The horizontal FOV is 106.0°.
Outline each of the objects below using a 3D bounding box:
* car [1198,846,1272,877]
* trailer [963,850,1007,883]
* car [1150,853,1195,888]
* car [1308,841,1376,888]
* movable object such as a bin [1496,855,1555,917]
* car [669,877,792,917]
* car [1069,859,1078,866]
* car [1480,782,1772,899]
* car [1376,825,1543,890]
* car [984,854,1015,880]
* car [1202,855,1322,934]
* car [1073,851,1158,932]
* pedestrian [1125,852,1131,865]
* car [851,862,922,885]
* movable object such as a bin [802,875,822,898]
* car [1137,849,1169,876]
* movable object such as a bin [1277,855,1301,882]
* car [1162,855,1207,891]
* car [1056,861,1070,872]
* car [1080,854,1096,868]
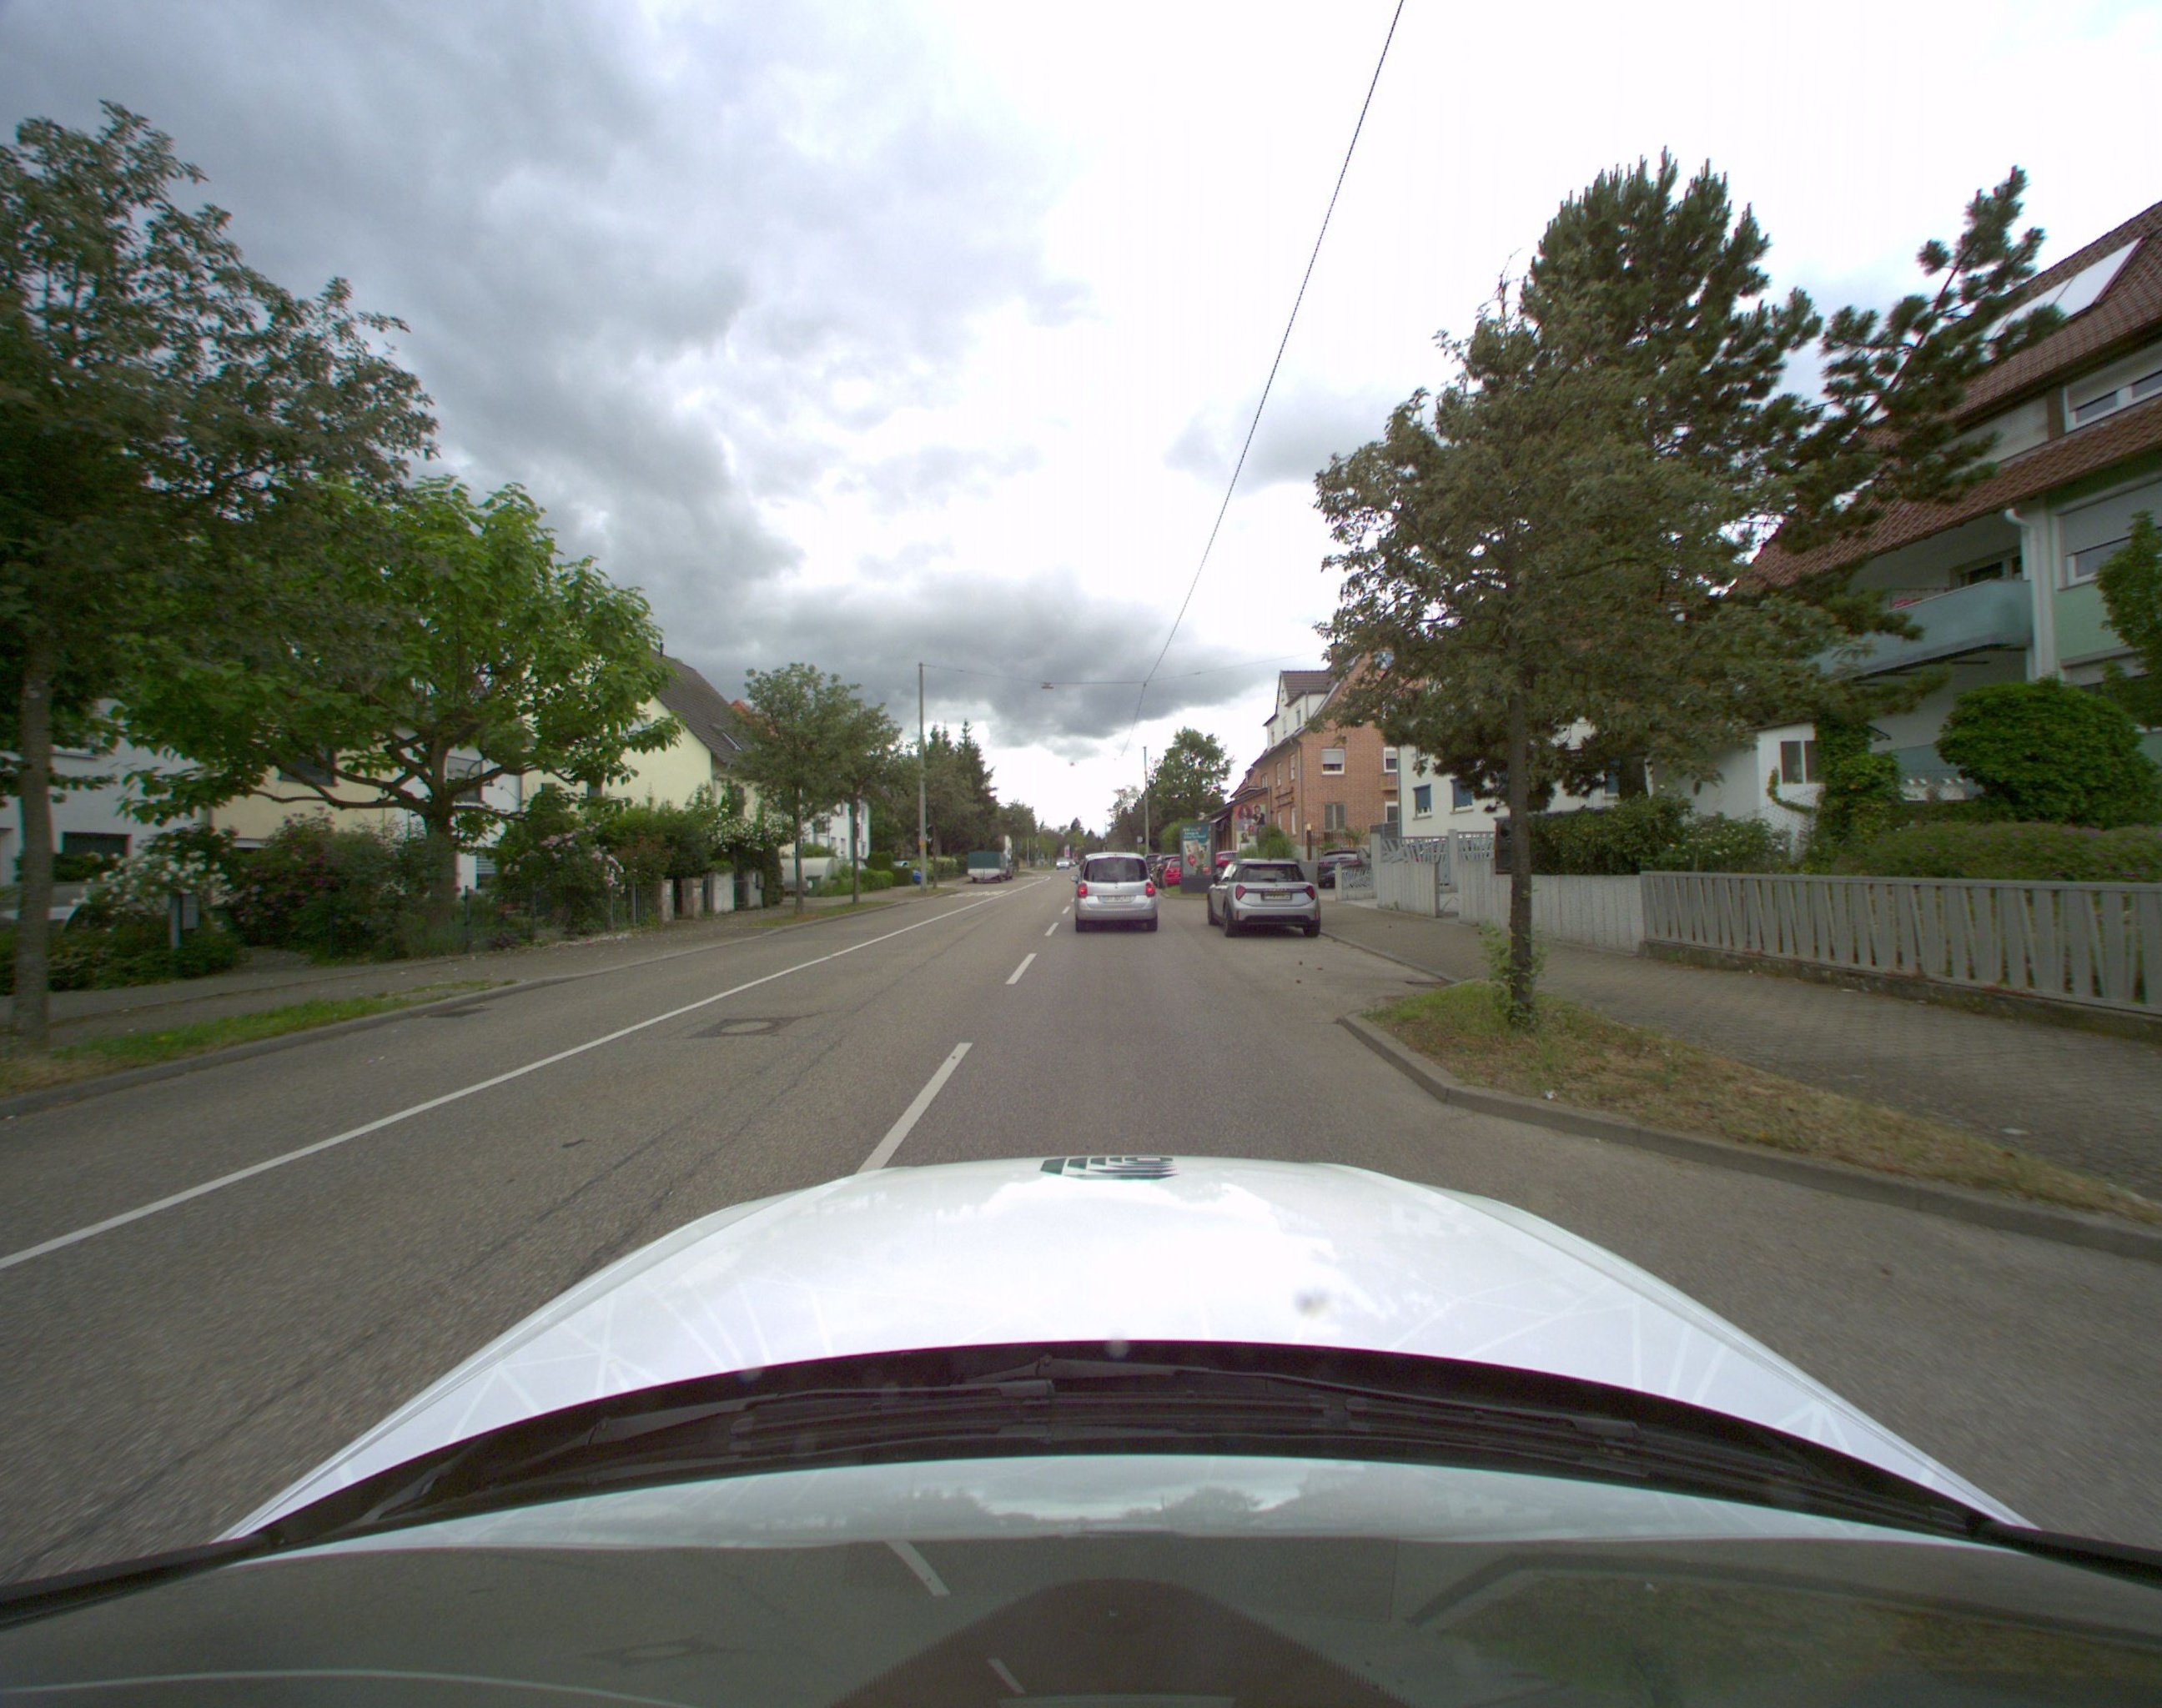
[{"bbox_3d":[9.237,0.451,49.044,3.984,1.496,1.805,-4,0,-8],"label":"car"},{"bbox_3d":[-6.449,0.852,55.373,2.305,2.087,5.871,0,-1,0],"label":"trailer"},{"bbox_3d":[4.409,0.761,39.716,1.658,1.564,4.096,-1,0,-1],"label":"car"},{"bbox_3d":[9.769,0.335,30.249,1.802,1.380,4.505,-6,-1,24],"label":"car"},{"bbox_3d":[8.098,0.583,14.852,0.594,1.056,0.611,-6,-2,-20],"label":"movable object such as a bin"},{"bbox_3d":[-13.739,1.676,32.123,4.062,1.286,1.751,-3,0,-7],"label":"car"},{"bbox_3d":[-1.489,1.744,168.179,1.717,1.411,3.997,0,-1,-2],"label":"car"},{"bbox_3d":[11.266,-0.165,17.296,1.982,2.013,4.685,-5,-1,-25],"label":"car"},{"bbox_3d":[11.495,0.129,24.869,4.256,1.506,1.691,-5,-3,-7],"label":"car"},{"bbox_3d":[-6.305,1.034,63.354,1.882,1.922,4.560,0,-1,0],"label":"car"},{"bbox_3d":[3.511,0.758,16.452,1.644,1.382,4.001,-1,-1,2],"label":"car"},{"bbox_3d":[0.739,0.759,17.649,1.623,1.557,4.001,0,-1,2],"label":"car"},{"bbox_3d":[6.034,0.573,104.399,0.703,1.647,0.773,-2,0,0],"label":"pedestrian"},{"bbox_3d":[-11.595,1.167,48.825,3.985,1.338,1.573,0,-2,-9],"label":"car"},{"bbox_3d":[-10.999,1.339,33.304,0.571,0.902,0.549,-3,-2,45],"label":"movable object such as a bin"},{"bbox_3d":[4.937,0.628,56.340,1.806,1.743,4.000,-2,-1,1],"label":"car"},{"bbox_3d":[8.519,0.587,33.356,0.773,1.104,0.691,-2,0,0],"label":"movable object such as a bin"},{"bbox_3d":[4.423,0.786,35.265,1.655,1.393,3.671,-2,0,3],"label":"car"},{"bbox_3d":[-2.687,1.885,120.634,1.902,1.618,3.994,-1,-1,-4],"label":"car"},{"bbox_3d":[0.849,0.843,100.544,1.822,1.675,3.575,-1,-1,1],"label":"car"}]
